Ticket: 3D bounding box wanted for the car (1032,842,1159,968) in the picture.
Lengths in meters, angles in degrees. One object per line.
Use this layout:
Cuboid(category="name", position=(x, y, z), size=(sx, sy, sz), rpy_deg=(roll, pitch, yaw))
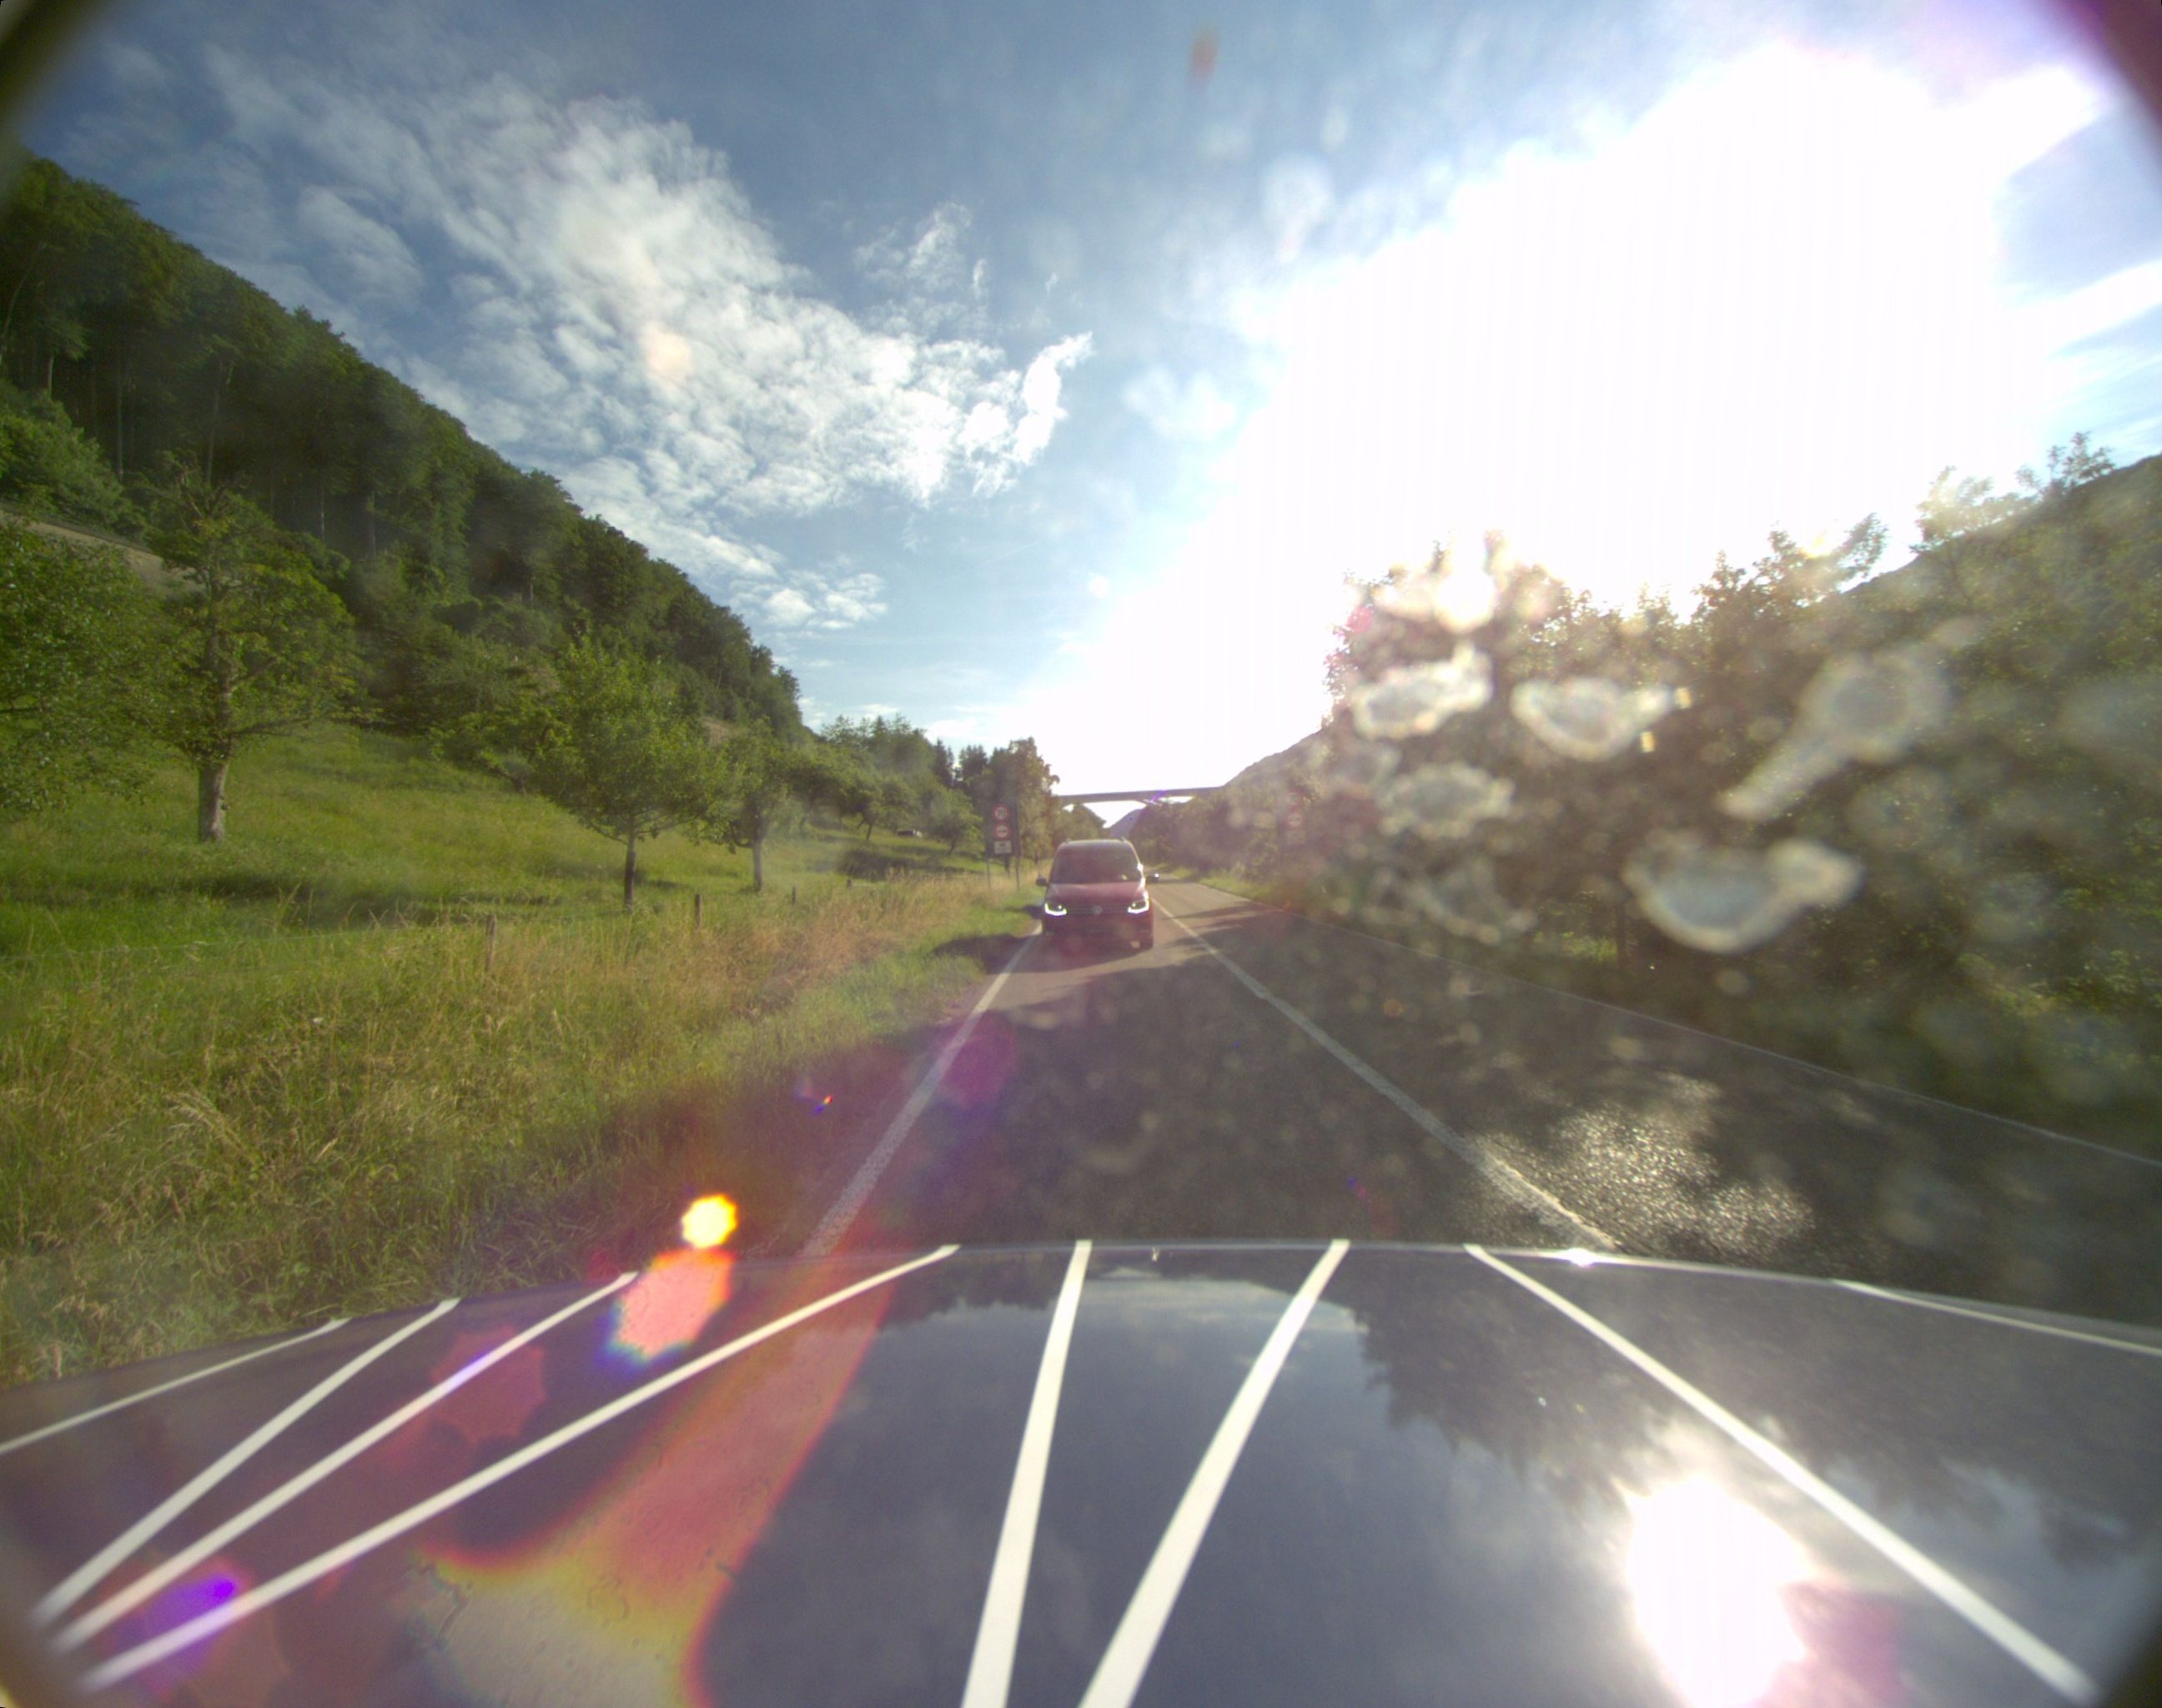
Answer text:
Cuboid(category="car", position=(0.276, 0.712, 13.113), size=(1.759, 1.745, 4.429), rpy_deg=(-2, 1, 2))
